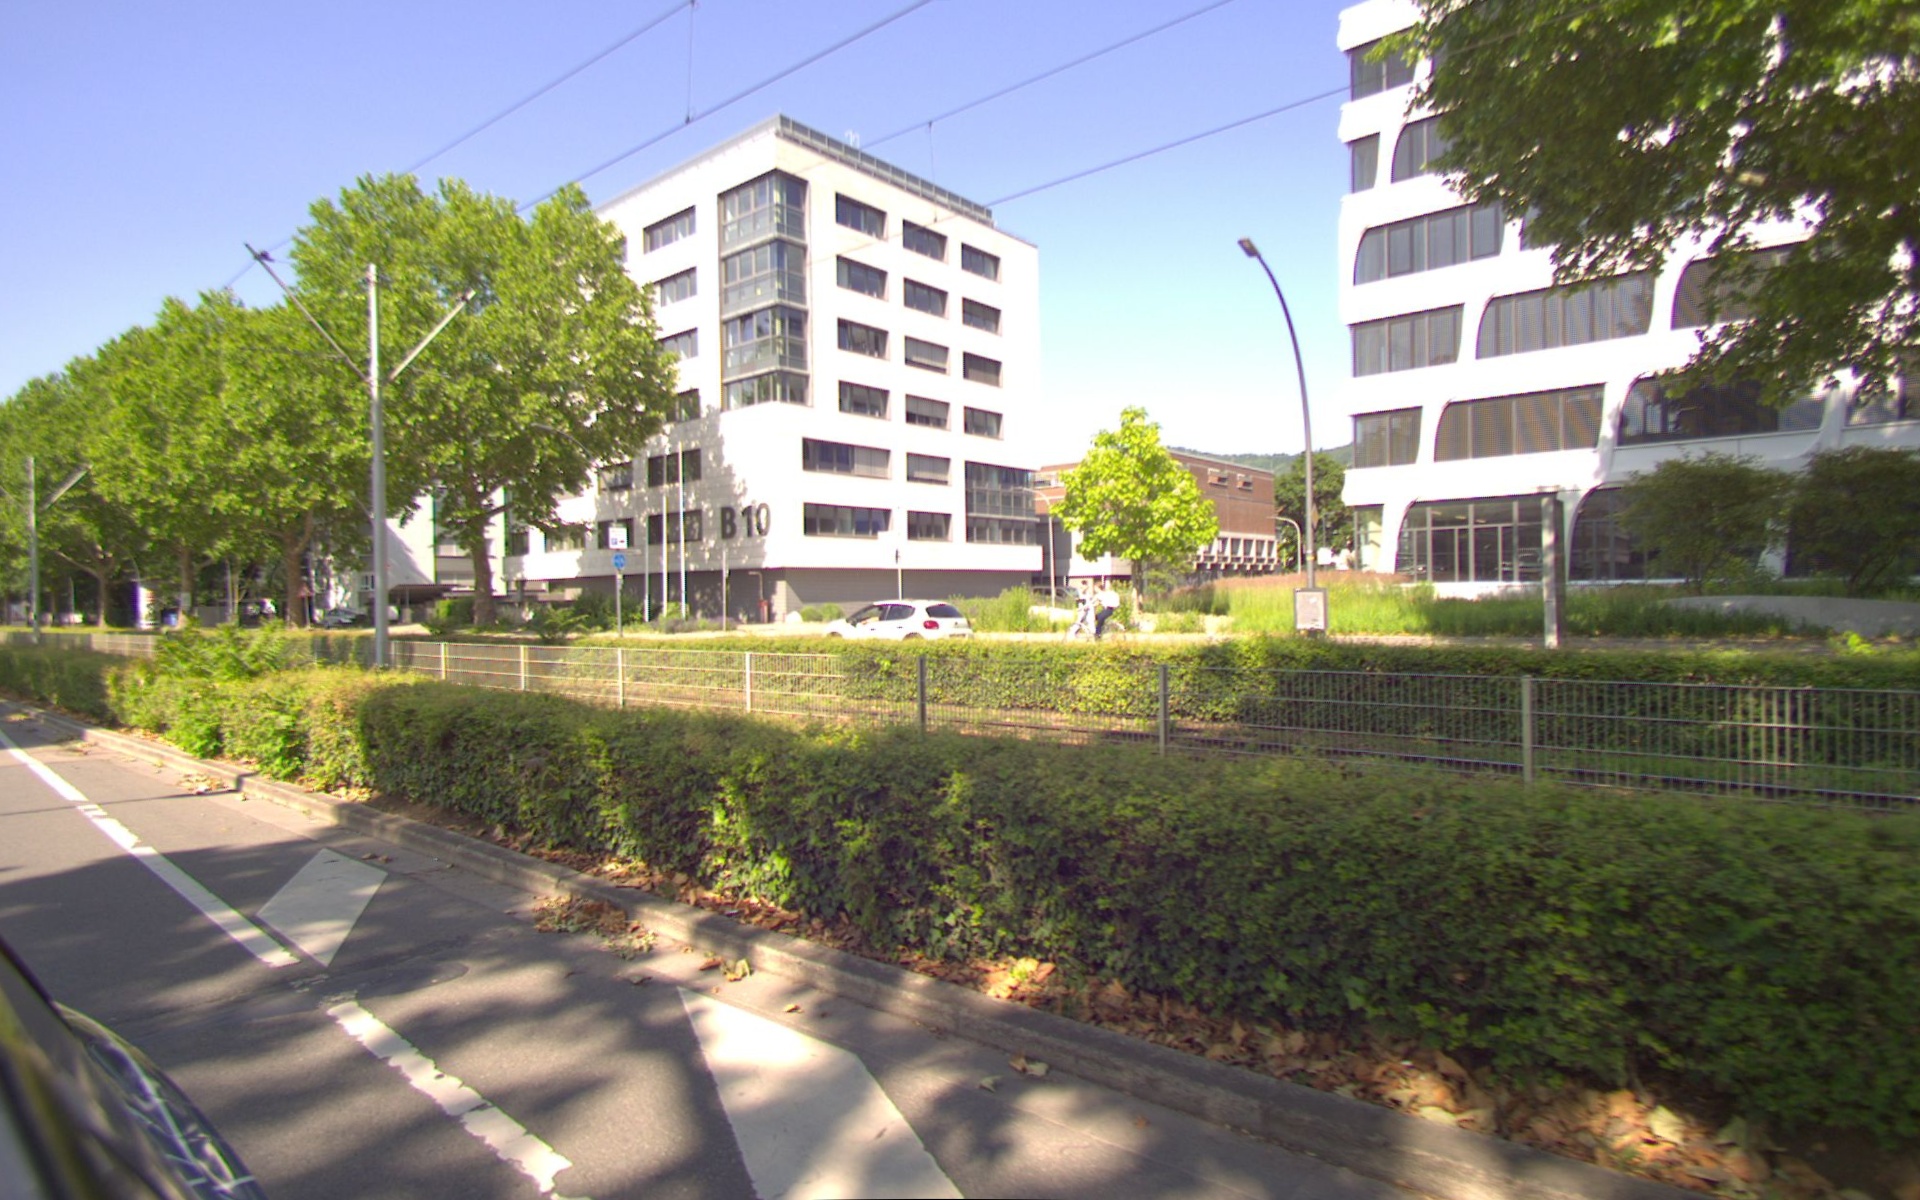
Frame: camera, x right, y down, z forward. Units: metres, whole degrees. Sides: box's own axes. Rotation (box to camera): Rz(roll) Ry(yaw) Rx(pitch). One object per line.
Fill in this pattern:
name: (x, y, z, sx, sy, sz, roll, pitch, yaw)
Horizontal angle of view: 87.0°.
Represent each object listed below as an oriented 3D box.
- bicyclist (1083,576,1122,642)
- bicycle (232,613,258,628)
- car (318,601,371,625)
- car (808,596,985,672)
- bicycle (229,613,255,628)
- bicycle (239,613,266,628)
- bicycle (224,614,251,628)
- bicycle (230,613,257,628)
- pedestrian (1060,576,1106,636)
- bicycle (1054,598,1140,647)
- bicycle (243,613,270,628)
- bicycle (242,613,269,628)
bicyclist: (3.430, 0.218, 24.375, 0.640, 1.546, 0.648, -1, 0, 41)
bicycle: (-59.253, 1.698, 83.876, 0.421, 1.111, 1.749, -1, 0, 38)
car: (-42.823, 0.898, 70.399, 4.344, 1.561, 1.725, -1, 0, 39)
car: (-1.526, 0.749, 23.508, 4.016, 1.581, 1.738, -1, 1, 41)
bicycle: (-59.928, 1.710, 84.473, 0.421, 1.111, 1.749, -1, 0, 38)
bicycle: (-58.043, 1.677, 83.081, 0.421, 1.111, 1.749, -1, 0, 38)
bicycle: (-60.770, 1.724, 85.158, 0.421, 1.111, 1.749, -1, 0, 38)
bicycle: (-59.590, 1.704, 84.157, 0.421, 1.111, 1.749, -1, 0, 38)
pedestrian: (3.398, 0.165, 28.013, 1.014, 1.600, 0.713, -1, 1, 41)
bicycle: (3.299, 0.539, 24.490, 2.029, 1.132, 0.657, -1, 1, 41)
bicycle: (-57.293, 1.665, 82.481, 0.421, 1.111, 1.749, -1, 0, 38)
bicycle: (-57.651, 1.671, 82.775, 0.421, 1.111, 1.749, -1, 0, 38)
